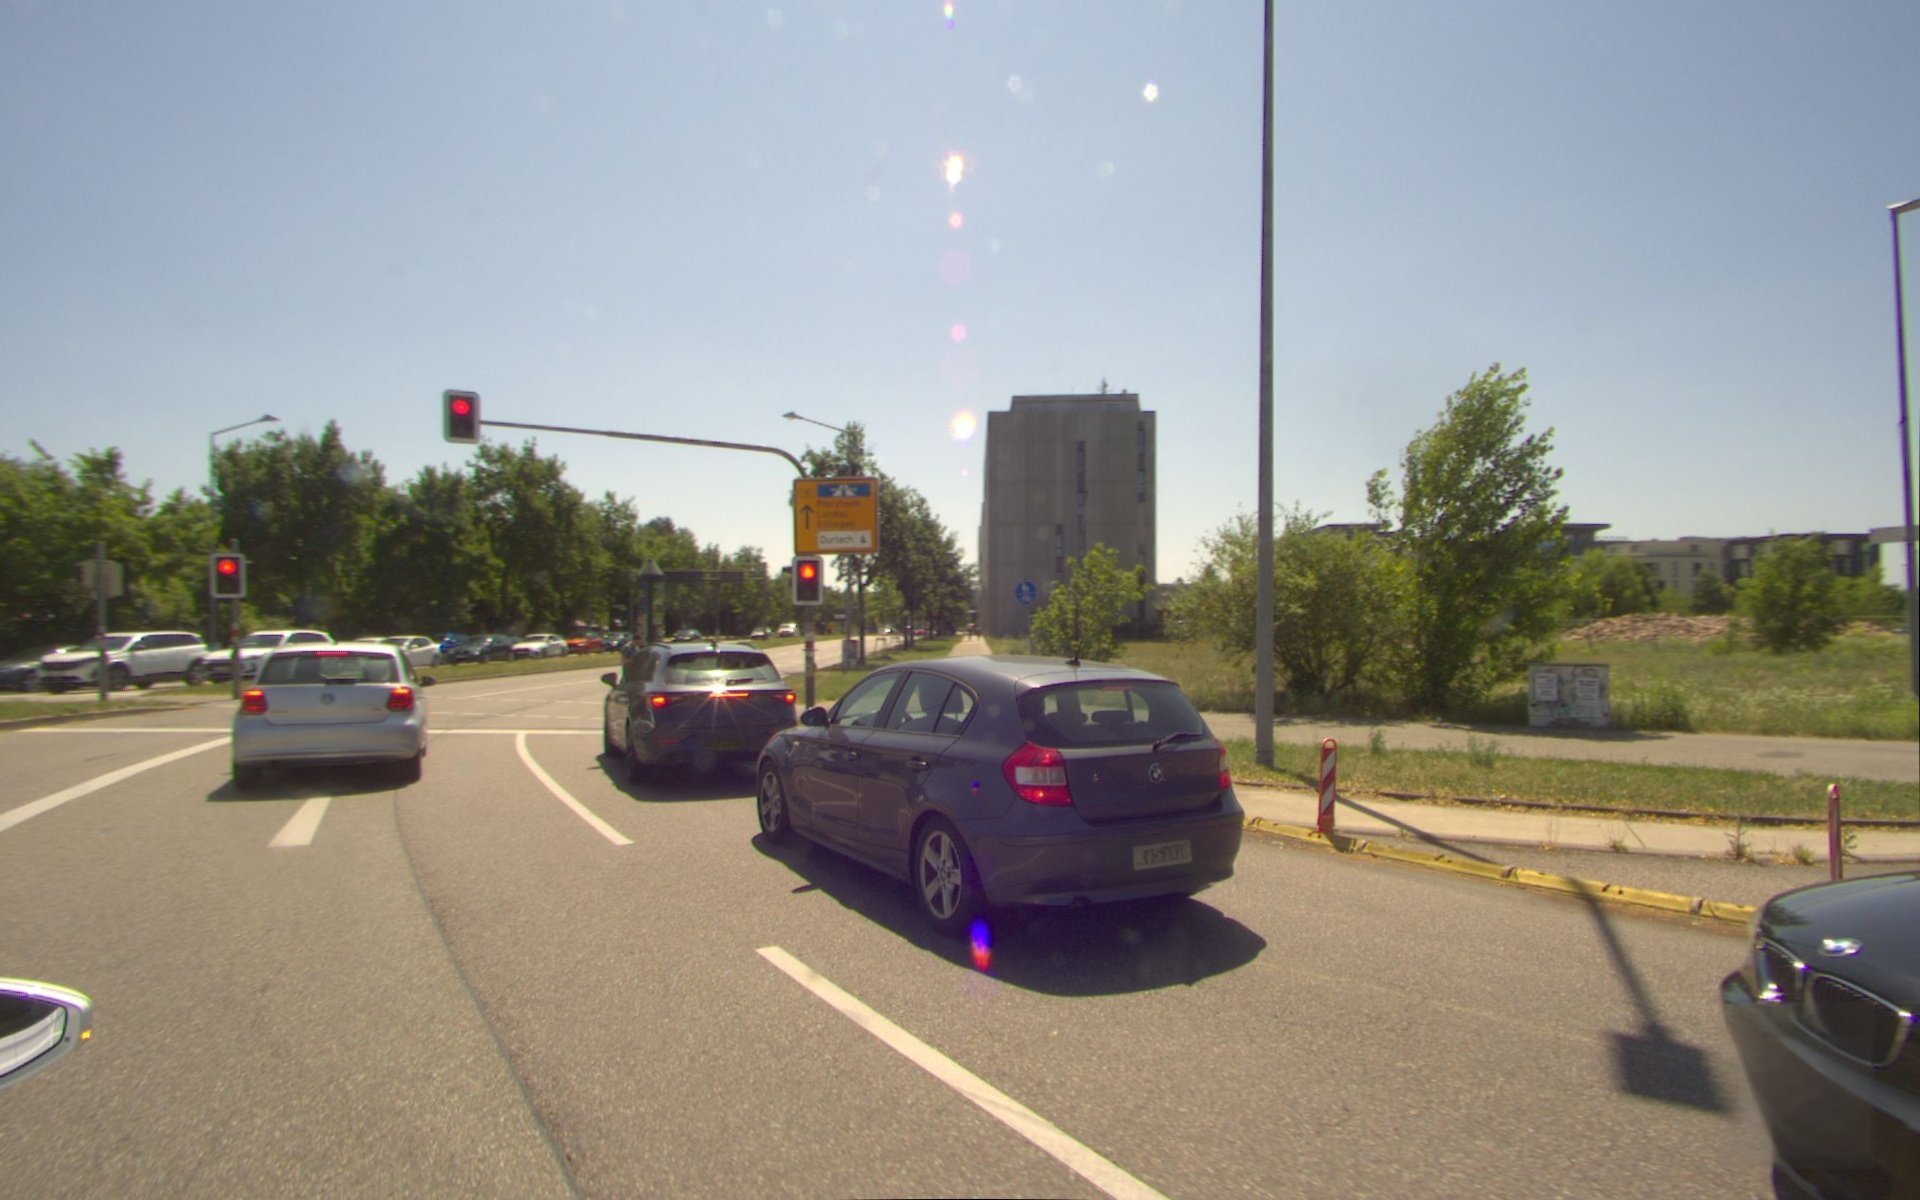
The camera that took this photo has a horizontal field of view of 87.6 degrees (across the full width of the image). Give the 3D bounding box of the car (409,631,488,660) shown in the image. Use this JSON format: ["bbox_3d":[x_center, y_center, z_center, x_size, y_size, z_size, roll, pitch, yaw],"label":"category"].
[{"bbox_3d":[-26.914,2.382,52.845,1.828,1.440,4.410,0,-2,1],"label":"car"}]

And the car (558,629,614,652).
[{"bbox_3d":[-23.809,2.565,63.863,1.828,1.440,4.410,0,-2,1],"label":"car"}]

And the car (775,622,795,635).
[{"bbox_3d":[-22.421,3.636,128.316,1.832,1.574,4.001,0,-2,0],"label":"car"}]

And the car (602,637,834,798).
[{"bbox_3d":[-3.018,1.175,11.713,1.967,1.436,4.442,1,-1,-23],"label":"car"}]

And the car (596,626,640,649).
[{"bbox_3d":[-23.389,2.544,68.561,1.687,1.493,3.799,-1,-2,0],"label":"car"}]

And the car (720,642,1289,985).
[{"bbox_3d":[-0.065,1.024,6.545,1.730,1.421,4.057,2,-2,-32],"label":"car"}]

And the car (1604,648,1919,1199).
[{"bbox_3d":[3.827,0.847,1.972,3.927,1.458,1.801,0,-2,16],"label":"car"}]

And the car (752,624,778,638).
[{"bbox_3d":[-20.953,3.329,107.800,1.938,1.507,4.001,0,-2,0],"label":"car"}]

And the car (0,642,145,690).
[{"bbox_3d":[-27.041,1.911,29.839,1.828,1.286,4.410,0,-2,1],"label":"car"}]

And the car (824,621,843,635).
[{"bbox_3d":[-16.766,3.692,132.793,1.771,1.713,4.144,-1,-2,1],"label":"car"}]

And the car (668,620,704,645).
[{"bbox_3d":[-23.303,2.768,85.297,1.961,2.039,4.002,-1,-2,0],"label":"car"}]

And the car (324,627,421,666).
[{"bbox_3d":[-26.945,2.110,46.119,1.828,1.705,4.410,0,-2,1],"label":"car"}]

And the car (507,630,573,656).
[{"bbox_3d":[-23.739,2.411,56.752,1.828,1.440,4.410,0,-2,1],"label":"car"}]

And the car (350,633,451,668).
[{"bbox_3d":[-24.098,2.154,43.311,1.828,1.440,4.410,0,-2,1],"label":"car"}]

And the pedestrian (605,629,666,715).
[{"bbox_3d":[-6.462,1.429,19.964,0.938,1.658,0.757,-1,-1,1],"label":"pedestrian"}]

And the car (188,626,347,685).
[{"bbox_3d":[-21.358,1.674,31.132,1.828,1.705,4.410,0,-2,1],"label":"car"}]

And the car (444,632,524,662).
[{"bbox_3d":[-23.758,2.320,50.124,1.828,1.440,4.410,0,-2,1],"label":"car"}]

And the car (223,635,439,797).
[{"bbox_3d":[-7.073,1.142,11.353,1.758,1.440,3.977,1,-1,-32],"label":"car"}]

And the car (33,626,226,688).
[{"bbox_3d":[-23.635,1.578,28.755,1.828,1.638,4.410,0,-2,1],"label":"car"}]
